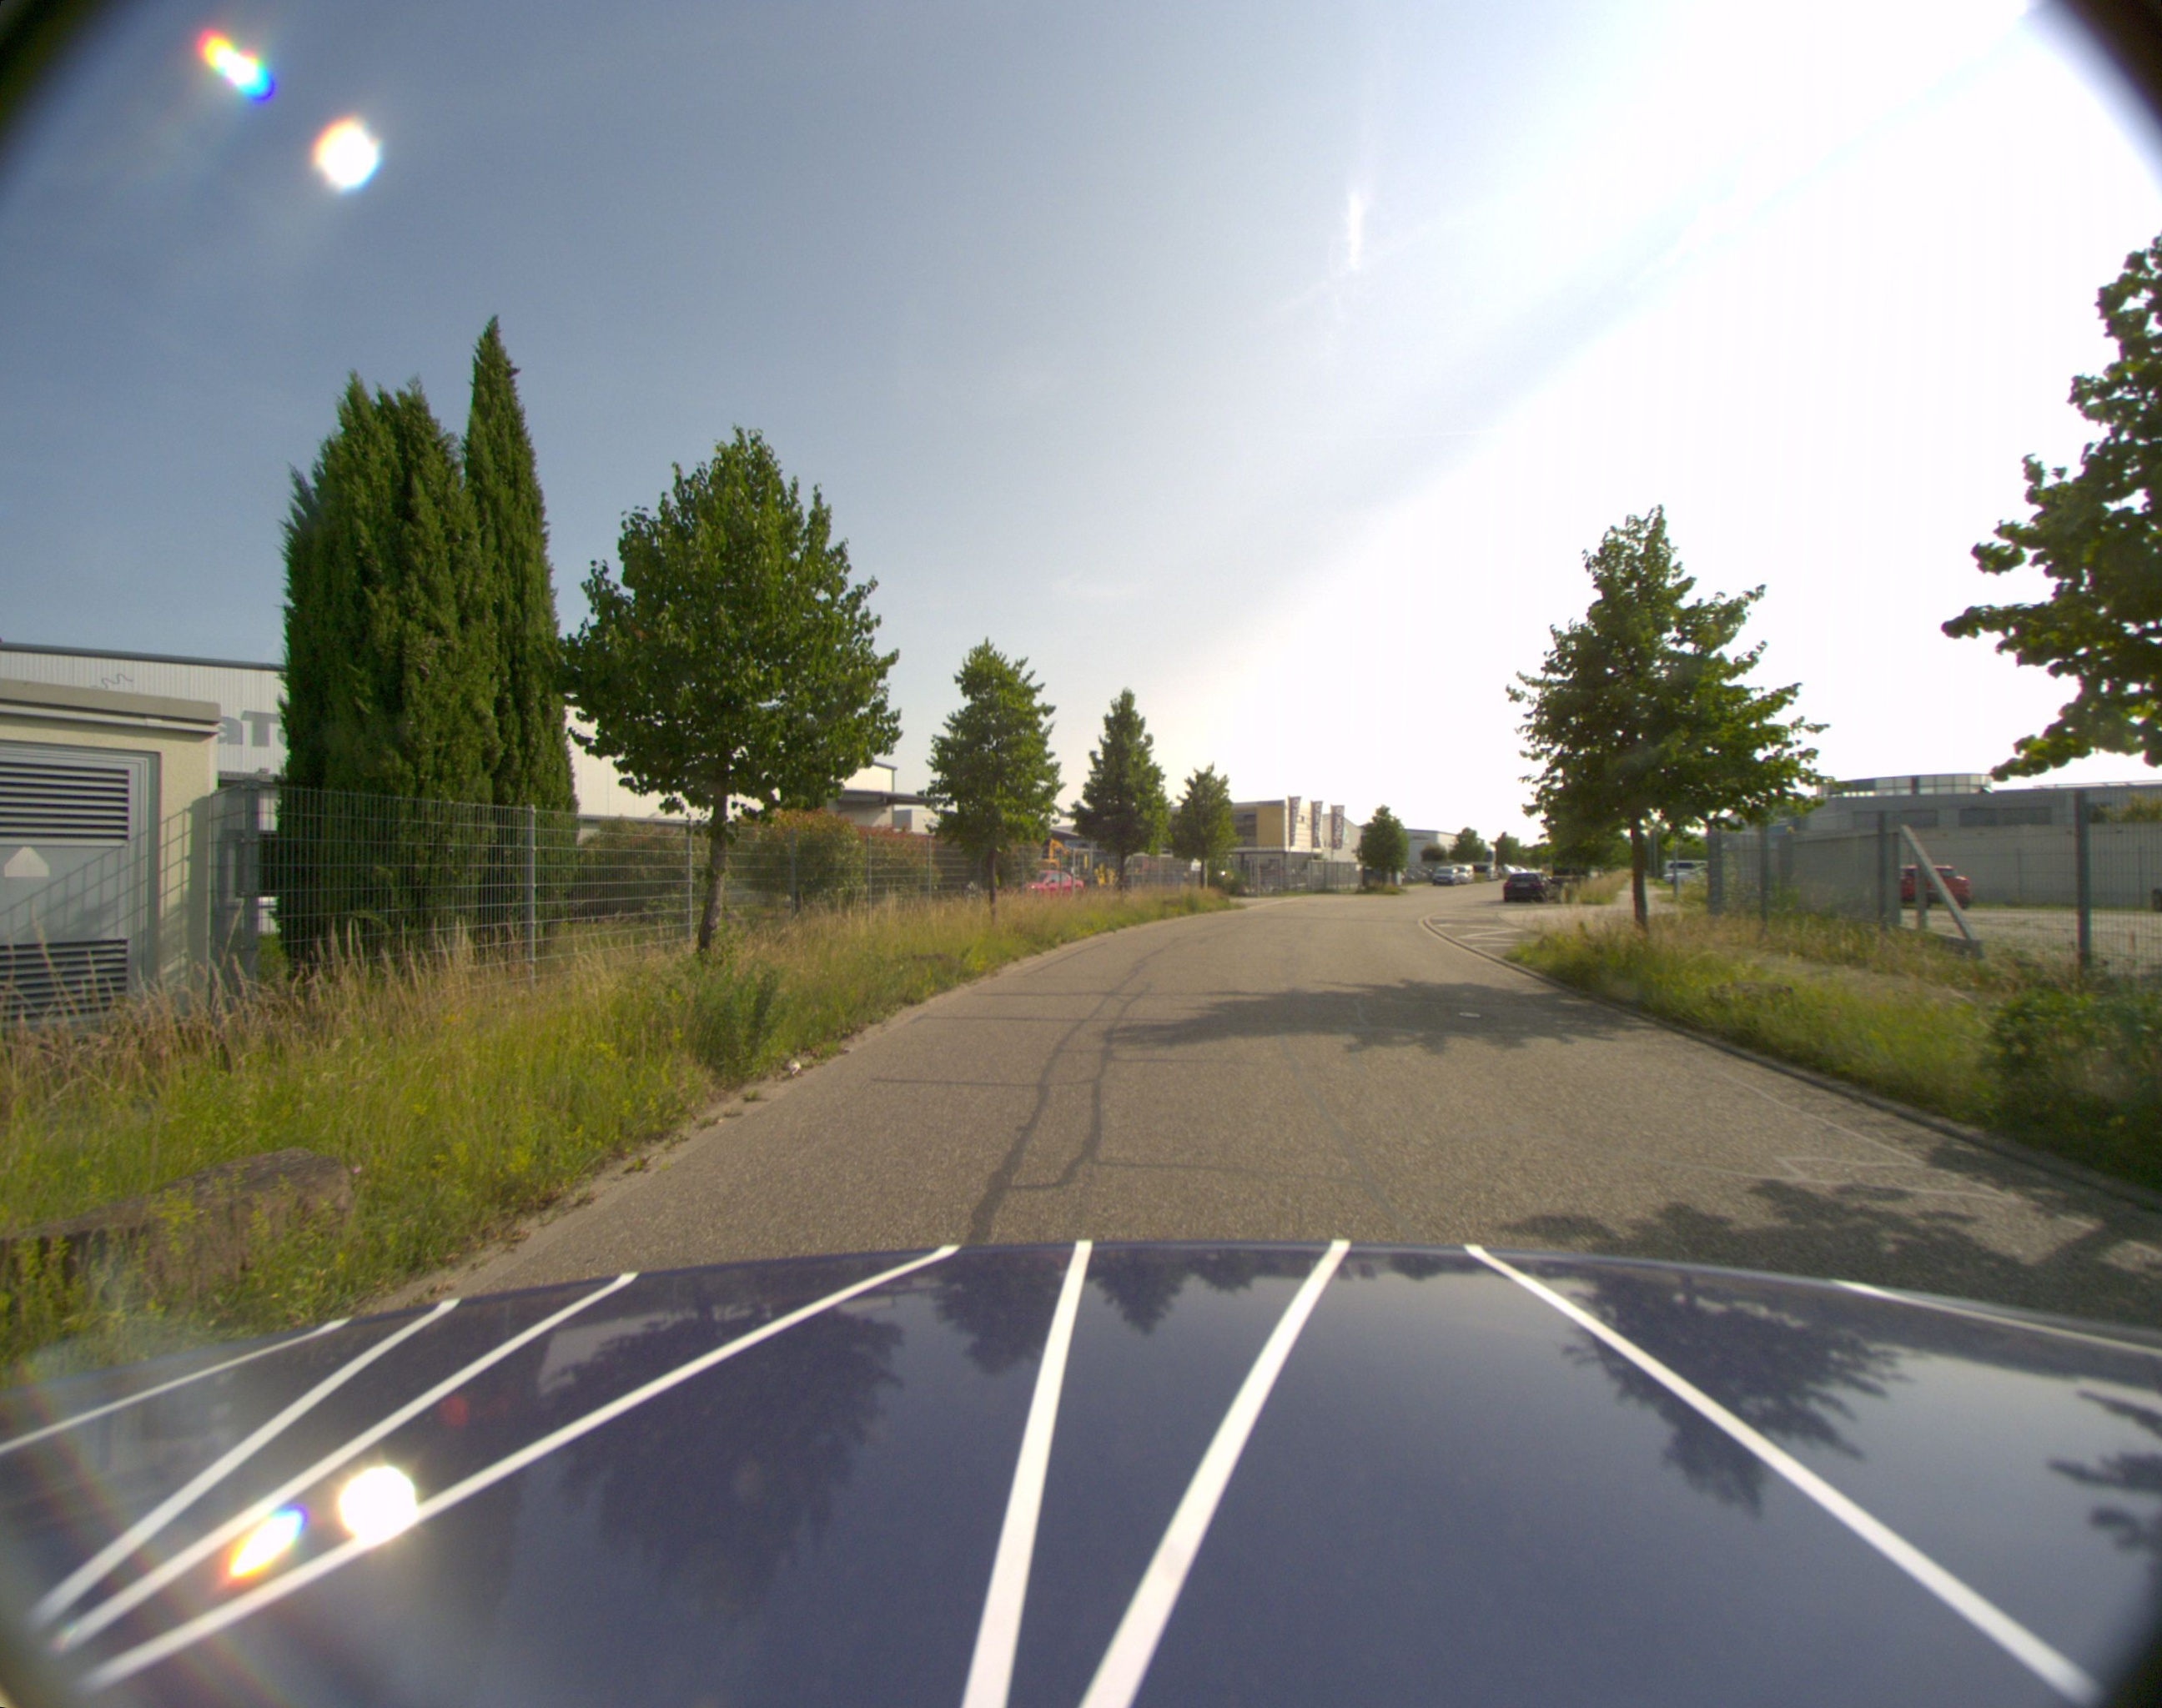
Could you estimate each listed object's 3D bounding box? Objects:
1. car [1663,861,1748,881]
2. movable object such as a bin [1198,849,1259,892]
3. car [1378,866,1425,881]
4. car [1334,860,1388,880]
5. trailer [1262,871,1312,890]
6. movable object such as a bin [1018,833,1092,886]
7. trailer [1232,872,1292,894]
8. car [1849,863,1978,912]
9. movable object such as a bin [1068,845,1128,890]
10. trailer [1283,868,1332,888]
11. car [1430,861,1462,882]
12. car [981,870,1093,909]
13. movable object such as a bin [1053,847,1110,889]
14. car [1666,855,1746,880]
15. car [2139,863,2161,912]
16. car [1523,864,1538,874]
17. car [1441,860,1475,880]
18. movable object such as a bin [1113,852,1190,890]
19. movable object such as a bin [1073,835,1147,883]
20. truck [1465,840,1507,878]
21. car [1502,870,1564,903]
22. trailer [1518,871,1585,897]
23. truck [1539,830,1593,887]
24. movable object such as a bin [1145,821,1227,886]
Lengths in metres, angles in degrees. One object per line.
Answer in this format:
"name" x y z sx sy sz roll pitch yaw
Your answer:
"car" 46.867 1.284 57.161 4.729 1.422 2.004 -1 -1 34
"movable object such as a bin" 9.919 1.075 50.764 1.887 2.736 5.171 0 -1 37
"car" 31.233 1.893 74.114 3.990 1.362 1.794 -3 -2 32
"car" 24.818 1.446 67.453 4.227 1.727 1.903 -1 -1 29
"trailer" 14.192 1.781 52.249 1.945 1.236 4.303 -1 -1 35
"movable object such as a bin" -1.908 0.456 58.116 2.685 3.850 5.731 0 -1 37
"trailer" 11.526 1.796 48.131 2.127 1.236 4.806 -1 -1 35
"car" 27.934 1.099 25.670 1.771 1.515 4.314 -1 -2 31
"movable object such as a bin" 1.234 0.950 53.769 1.993 3.013 4.502 0 -1 37
"trailer" 16.784 1.781 56.166 1.994 1.303 4.573 -1 0 37
"car" 32.417 1.529 67.434 1.827 1.710 4.257 -1 0 35
"car" -1.597 1.306 29.546 1.881 1.349 4.784 -1 -1 33
"movable object such as a bin" 0.079 1.010 56.114 1.993 3.013 4.383 0 -1 37
"car" 48.763 1.064 59.413 4.706 1.825 2.107 -1 -1 37
"car" 32.765 0.977 21.550 1.833 1.485 4.488 -1 -2 35
"car" 70.353 2.376 118.820 1.664 1.495 3.549 2 0 36
"car" 35.436 1.481 71.300 1.994 1.779 4.609 -1 0 37
"movable object such as a bin" 4.941 1.145 52.430 2.923 2.476 5.350 -1 -1 37
"movable object such as a bin" 2.603 0.467 65.059 2.919 3.906 7.223 0 -1 35
"truck" 45.164 0.589 84.540 2.746 3.992 9.707 2 0 36
"car" 21.338 1.509 35.773 1.995 1.457 4.442 -3 -3 37
"trailer" 25.108 1.553 40.373 2.131 1.225 7.173 -3 -3 39
"truck" 36.417 0.299 56.908 2.457 3.858 9.823 -3 -1 37
"movable object such as a bin" 8.498 0.034 60.630 3.317 4.777 7.690 0 -1 35
